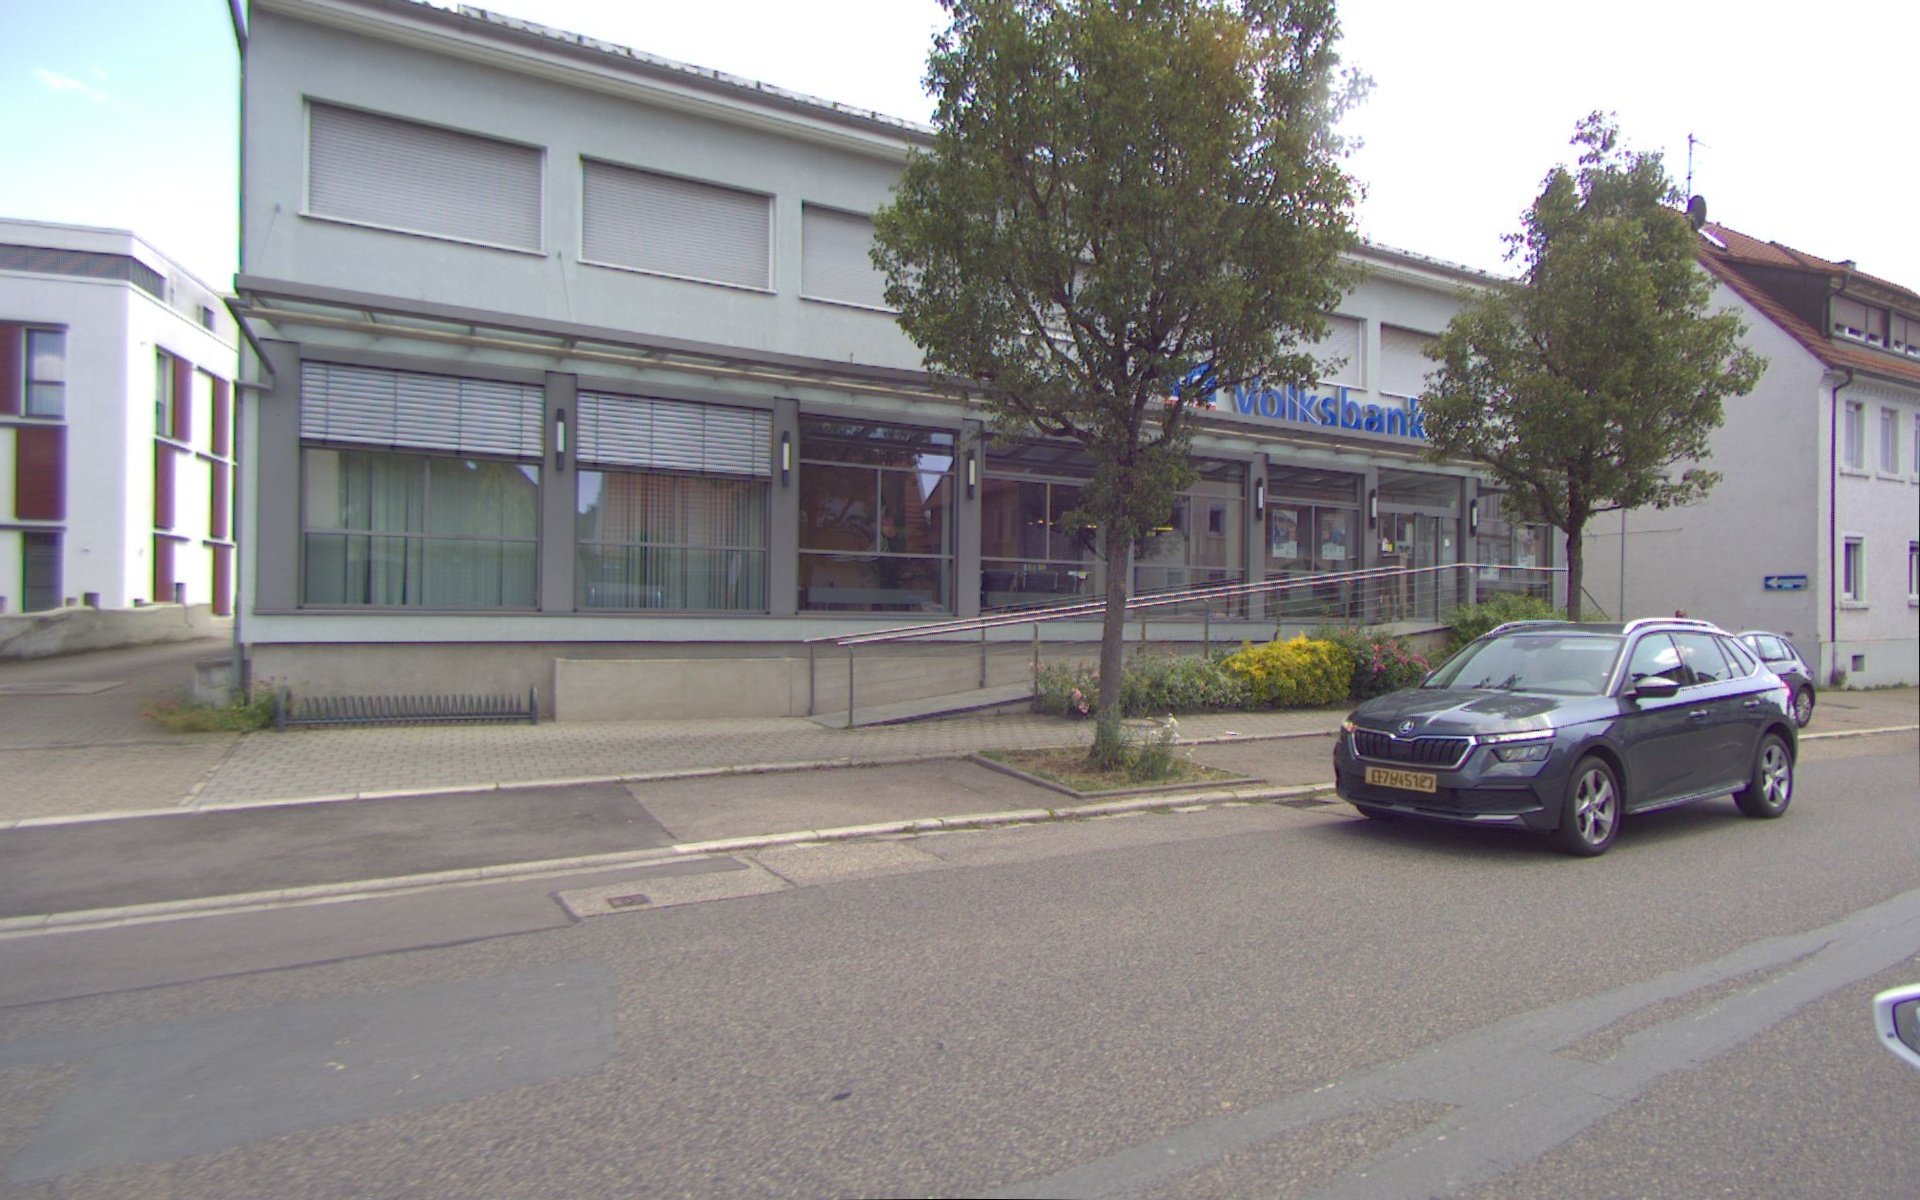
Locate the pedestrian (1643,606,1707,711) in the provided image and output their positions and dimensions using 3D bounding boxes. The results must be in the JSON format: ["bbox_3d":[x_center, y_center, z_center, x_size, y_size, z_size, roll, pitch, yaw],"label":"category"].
[{"bbox_3d":[12.738,1.035,17.907,0.635,1.825,0.735,2,-2,-31],"label":"pedestrian"}]

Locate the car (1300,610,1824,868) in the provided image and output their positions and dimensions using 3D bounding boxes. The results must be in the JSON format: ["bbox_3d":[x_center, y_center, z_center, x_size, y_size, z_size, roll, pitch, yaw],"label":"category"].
[{"bbox_3d":[4.718,0.898,7.787,3.971,1.547,1.736,1,-3,-29],"label":"car"}]

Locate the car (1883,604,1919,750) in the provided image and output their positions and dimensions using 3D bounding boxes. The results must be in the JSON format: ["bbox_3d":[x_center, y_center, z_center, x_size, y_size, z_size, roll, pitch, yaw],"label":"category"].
[{"bbox_3d":[14.230,0.952,12.930,4.592,1.808,1.948,1,-3,-27],"label":"car"}]

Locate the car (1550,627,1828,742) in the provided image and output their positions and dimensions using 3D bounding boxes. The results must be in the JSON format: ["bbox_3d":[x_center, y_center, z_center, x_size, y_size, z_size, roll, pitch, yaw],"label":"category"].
[{"bbox_3d":[10.935,1.171,15.025,4.107,1.480,1.797,1,0,-29],"label":"car"}]
